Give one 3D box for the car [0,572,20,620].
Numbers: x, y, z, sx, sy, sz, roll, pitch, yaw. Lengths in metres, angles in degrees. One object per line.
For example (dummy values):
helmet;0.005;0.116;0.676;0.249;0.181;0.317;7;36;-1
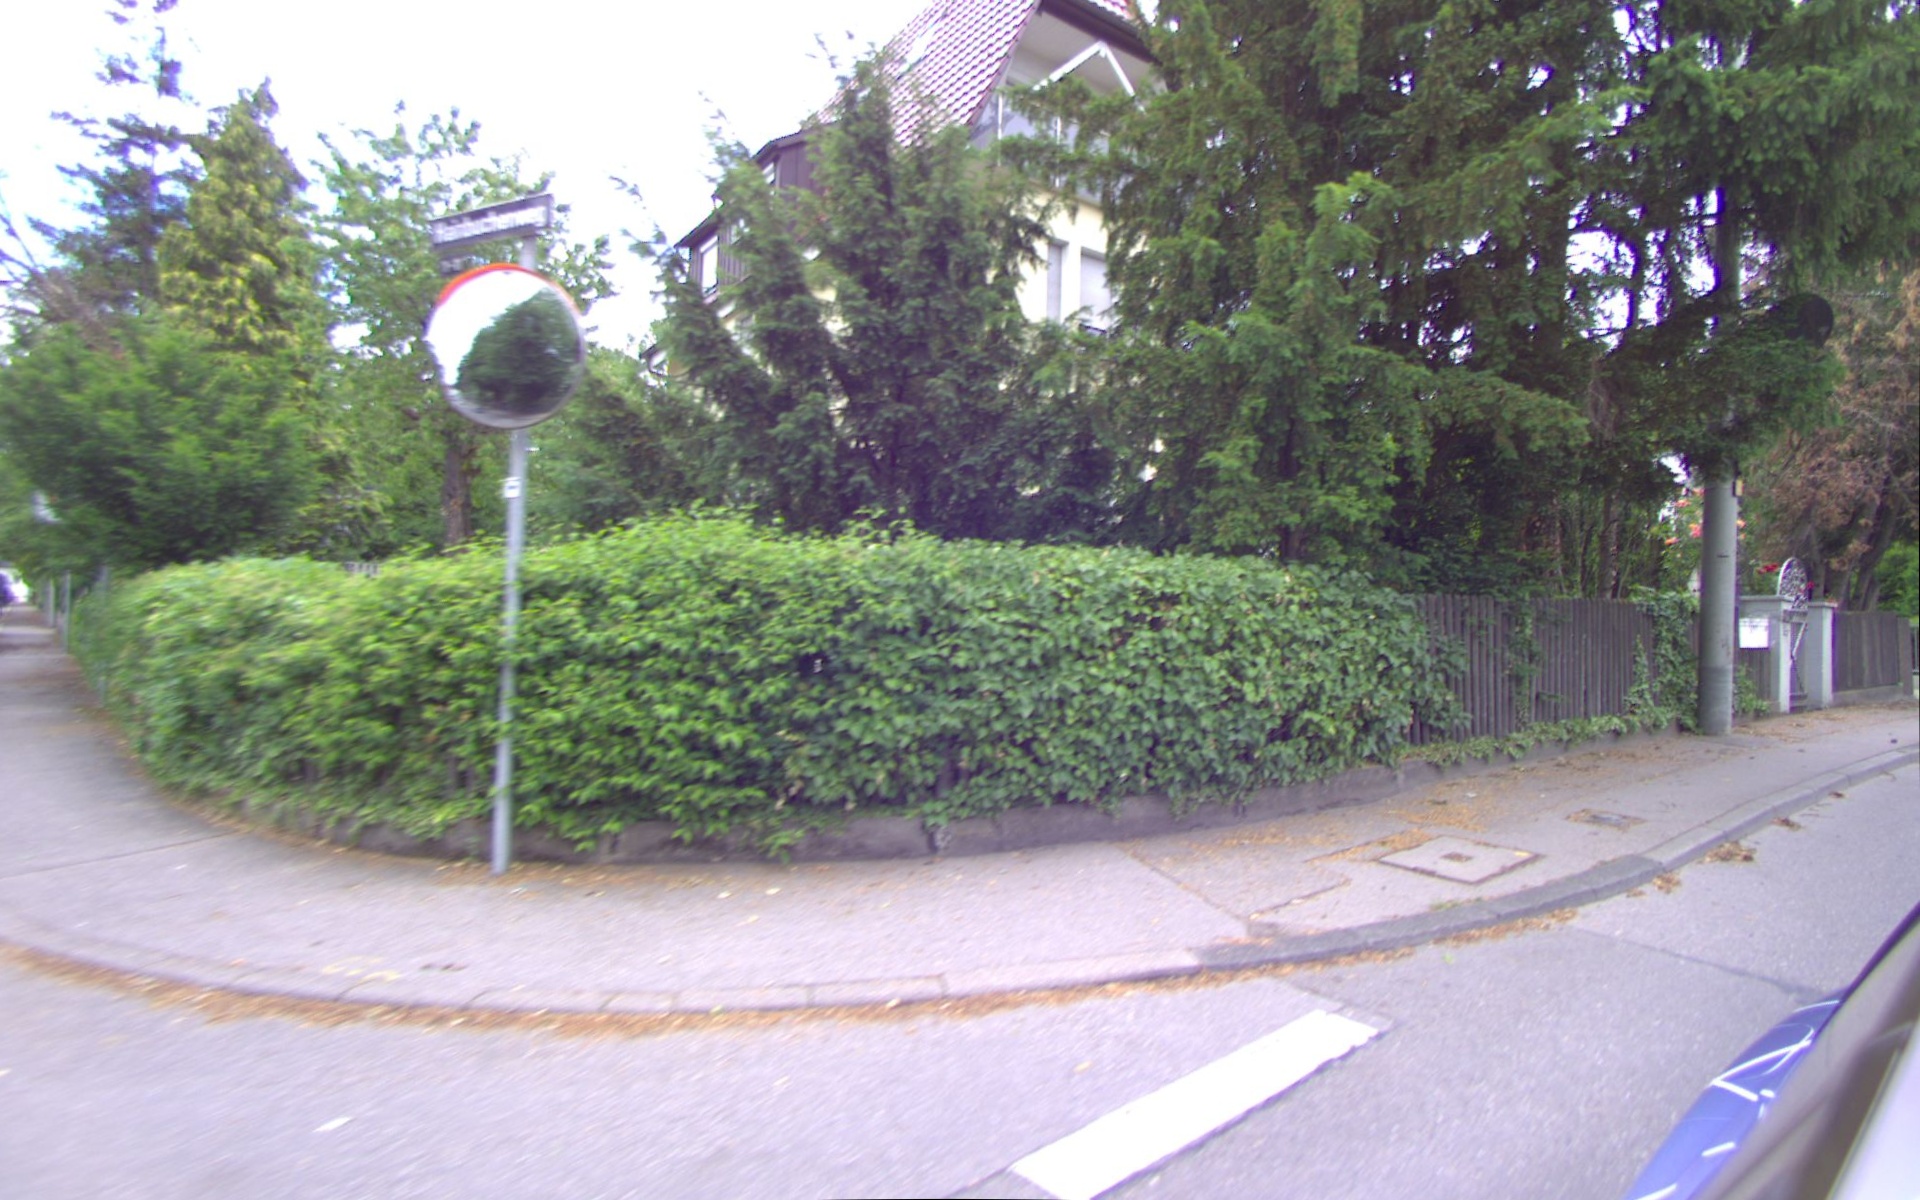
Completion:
car;-36.913;-0.164;38.228;1.967;1.742;3.990;0;1;-44
